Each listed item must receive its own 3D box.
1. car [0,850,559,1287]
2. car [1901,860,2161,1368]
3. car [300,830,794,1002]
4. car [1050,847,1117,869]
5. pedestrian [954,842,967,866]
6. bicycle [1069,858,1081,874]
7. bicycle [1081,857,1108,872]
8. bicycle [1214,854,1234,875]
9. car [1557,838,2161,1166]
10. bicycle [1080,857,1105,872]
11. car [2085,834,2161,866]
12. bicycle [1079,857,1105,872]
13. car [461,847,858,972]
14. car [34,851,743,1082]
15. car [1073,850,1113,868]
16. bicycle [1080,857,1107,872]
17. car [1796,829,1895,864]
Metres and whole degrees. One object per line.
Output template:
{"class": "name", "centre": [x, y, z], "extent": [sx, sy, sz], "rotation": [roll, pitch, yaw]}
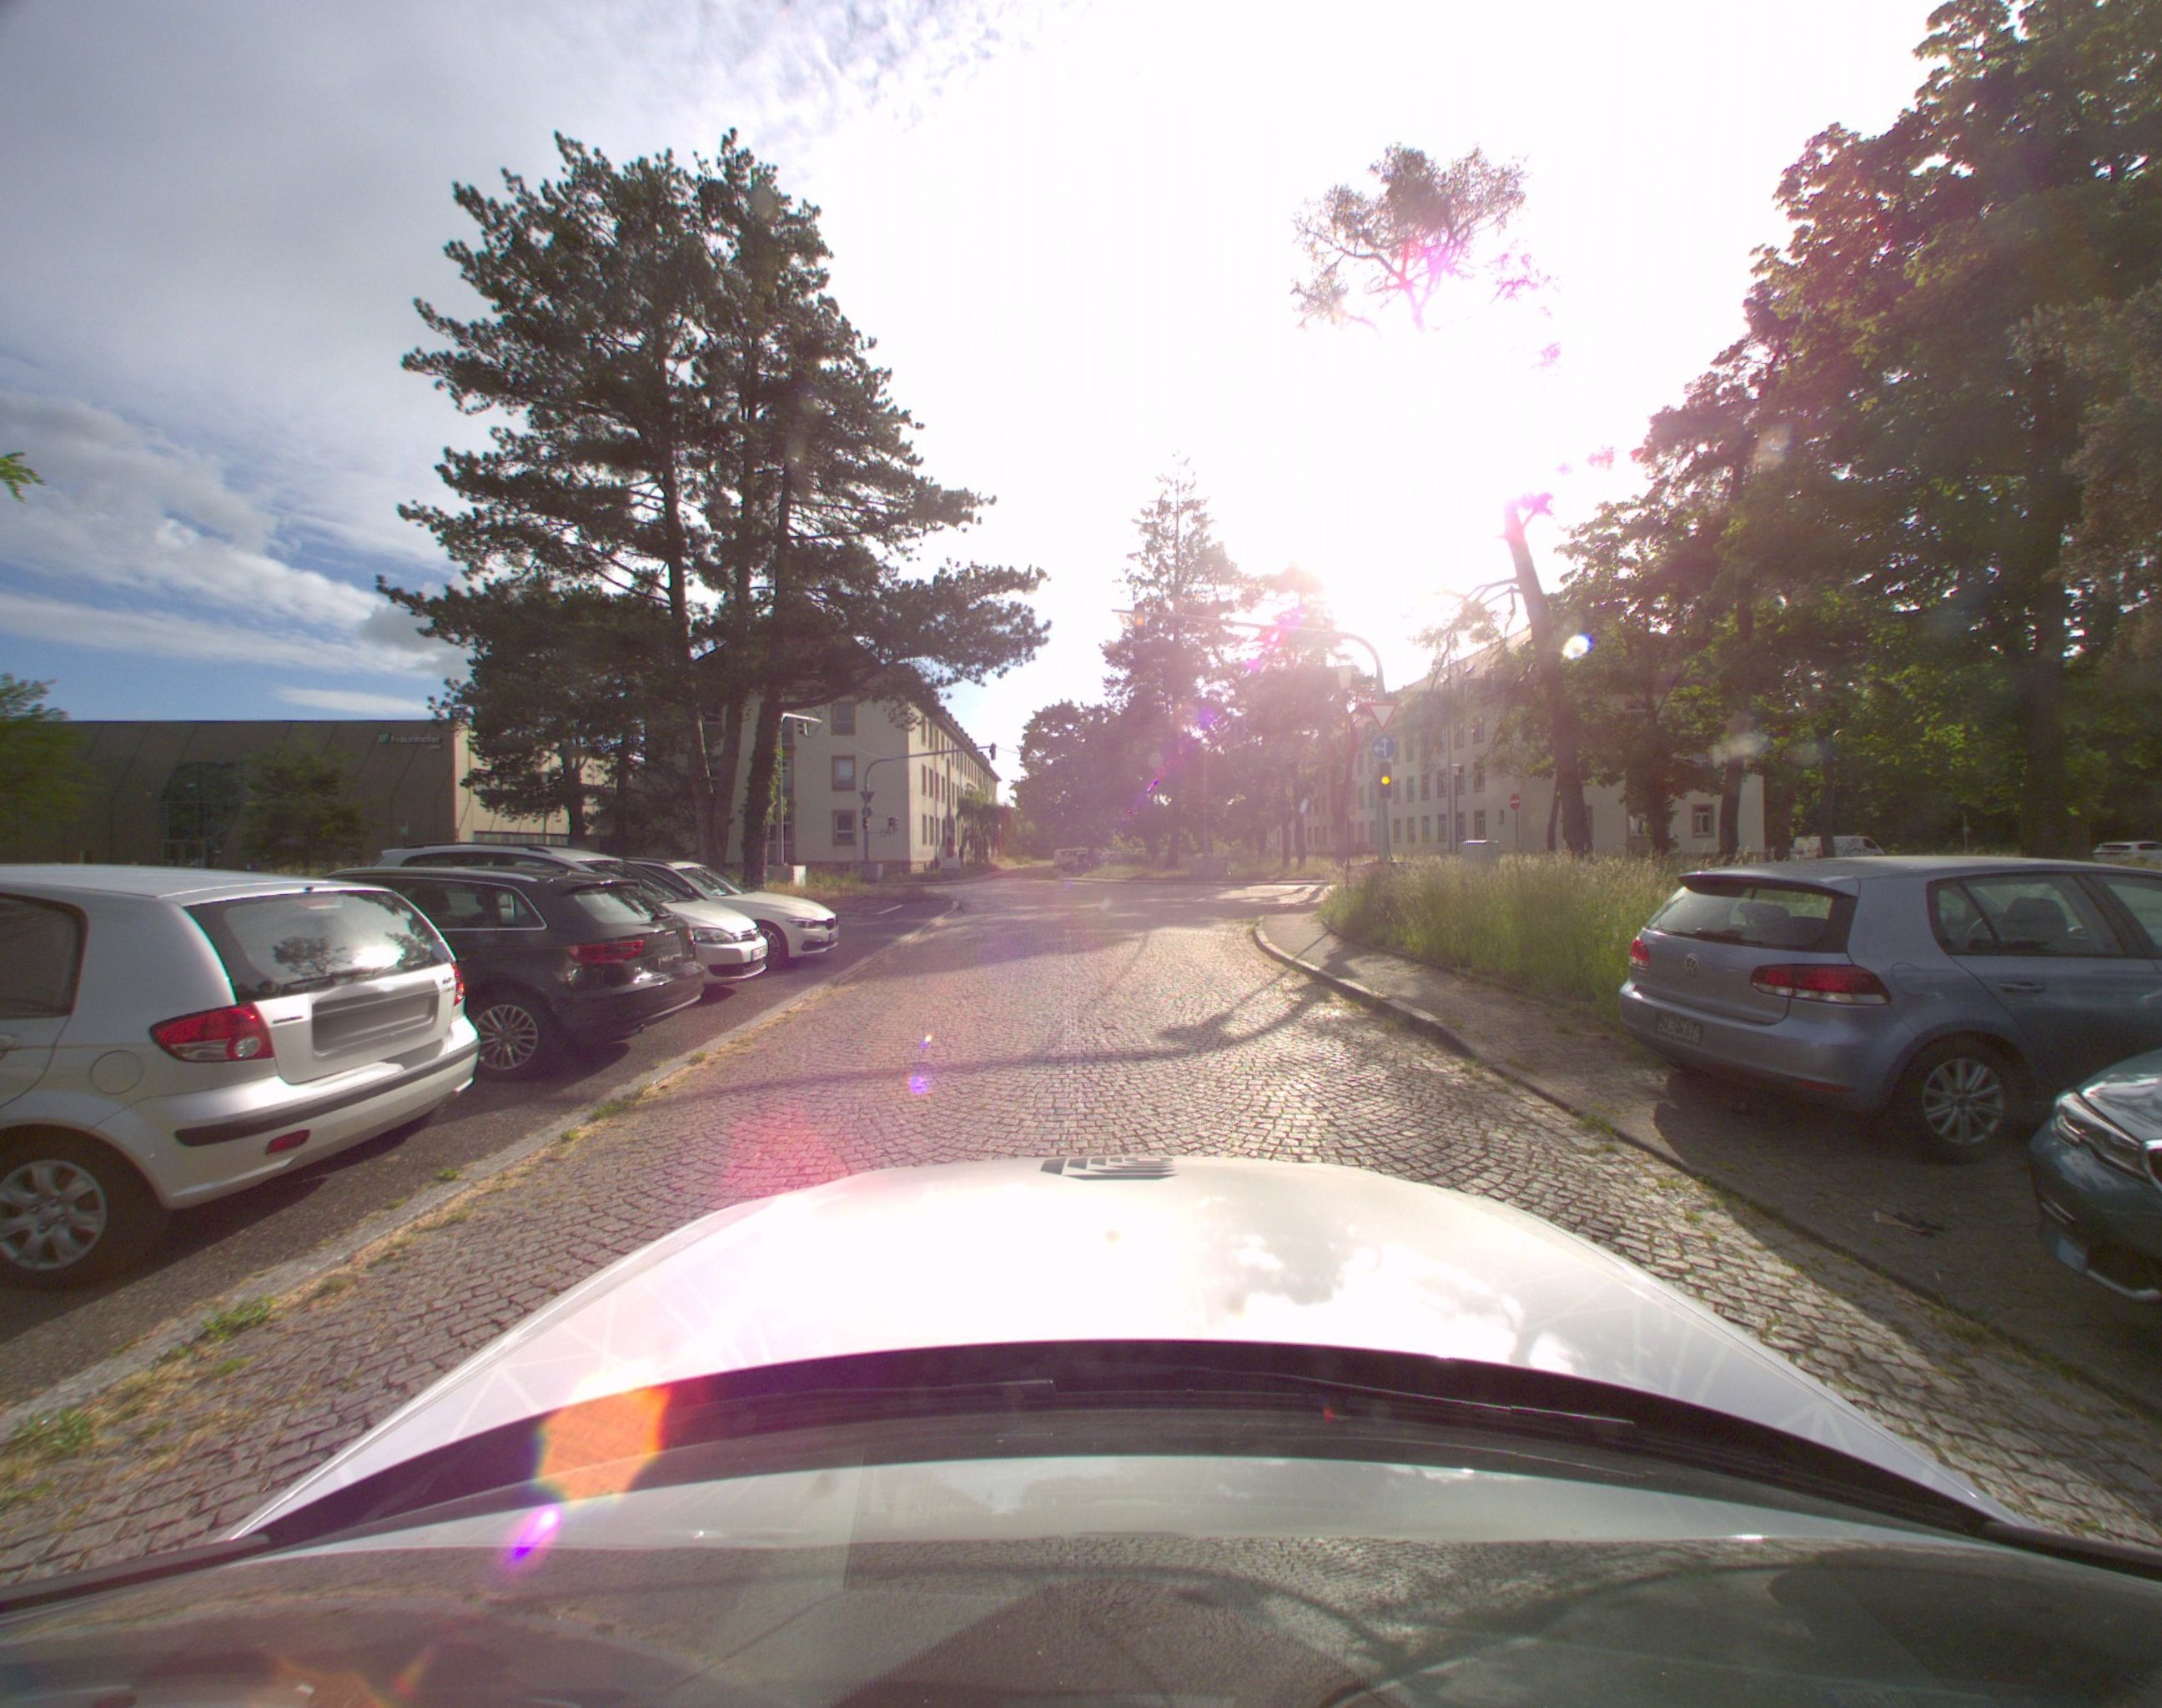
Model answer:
{"class": "car", "centre": [-4.888, 0.757, 3.741], "extent": [3.675, 1.473, 1.847], "rotation": [2, -1, -3]}
{"class": "car", "centre": [5.431, 0.726, 2.363], "extent": [4.500, 1.473, 1.891], "rotation": [-1, 0, -6]}
{"class": "car", "centre": [-5.591, 0.649, 9.067], "extent": [4.116, 1.600, 1.855], "rotation": [2, -1, -6]}
{"class": "car", "centre": [0.230, 0.330, 71.827], "extent": [5.511, 1.916, 2.242], "rotation": [0, -1, -16]}
{"class": "pedestrian", "centre": [-10.042, 0.031, 67.887], "extent": [0.983, 1.963, 0.932], "rotation": [0, -1, -2]}
{"class": "bicycle", "centre": [-0.387, 0.762, 52.278], "extent": [0.726, 0.999, 1.798], "rotation": [-1, 1, -1]}
{"class": "bicycle", "centre": [0.900, 0.737, 55.913], "extent": [1.788, 0.999, 0.643], "rotation": [-1, 1, -3]}
{"class": "bicycle", "centre": [7.366, 0.518, 41.966], "extent": [0.561, 0.999, 1.749], "rotation": [-1, 1, -5]}
{"class": "car", "centre": [5.723, 0.684, 4.998], "extent": [4.534, 1.505, 1.931], "rotation": [-1, 0, -4]}
{"class": "bicycle", "centre": [0.806, 0.753, 58.431], "extent": [1.788, 0.999, 0.643], "rotation": [-1, 1, -3]}
{"class": "car", "centre": [56.931, -0.227, 43.734], "extent": [3.924, 1.679, 1.854], "rotation": [0, -1, -4]}
{"class": "bicycle", "centre": [0.796, 0.757, 59.169], "extent": [1.788, 0.999, 0.643], "rotation": [-1, 1, -3]}
{"class": "car", "centre": [-5.738, 0.733, 11.604], "extent": [4.578, 1.455, 1.901], "rotation": [2, 1, -4]}
{"class": "car", "centre": [-4.984, 0.773, 6.393], "extent": [3.819, 1.429, 1.857], "rotation": [2, -1, -3]}
{"class": "car", "centre": [0.978, 0.430, 68.286], "extent": [3.037, 1.465, 1.712], "rotation": [0, -1, -14]}
{"class": "bicycle", "centre": [0.875, 0.745, 56.933], "extent": [1.788, 0.999, 0.643], "rotation": [-1, 1, -3]}
{"class": "car", "centre": [56.089, -0.540, 59.814], "extent": [5.142, 2.536, 2.264], "rotation": [0, -1, -1]}
